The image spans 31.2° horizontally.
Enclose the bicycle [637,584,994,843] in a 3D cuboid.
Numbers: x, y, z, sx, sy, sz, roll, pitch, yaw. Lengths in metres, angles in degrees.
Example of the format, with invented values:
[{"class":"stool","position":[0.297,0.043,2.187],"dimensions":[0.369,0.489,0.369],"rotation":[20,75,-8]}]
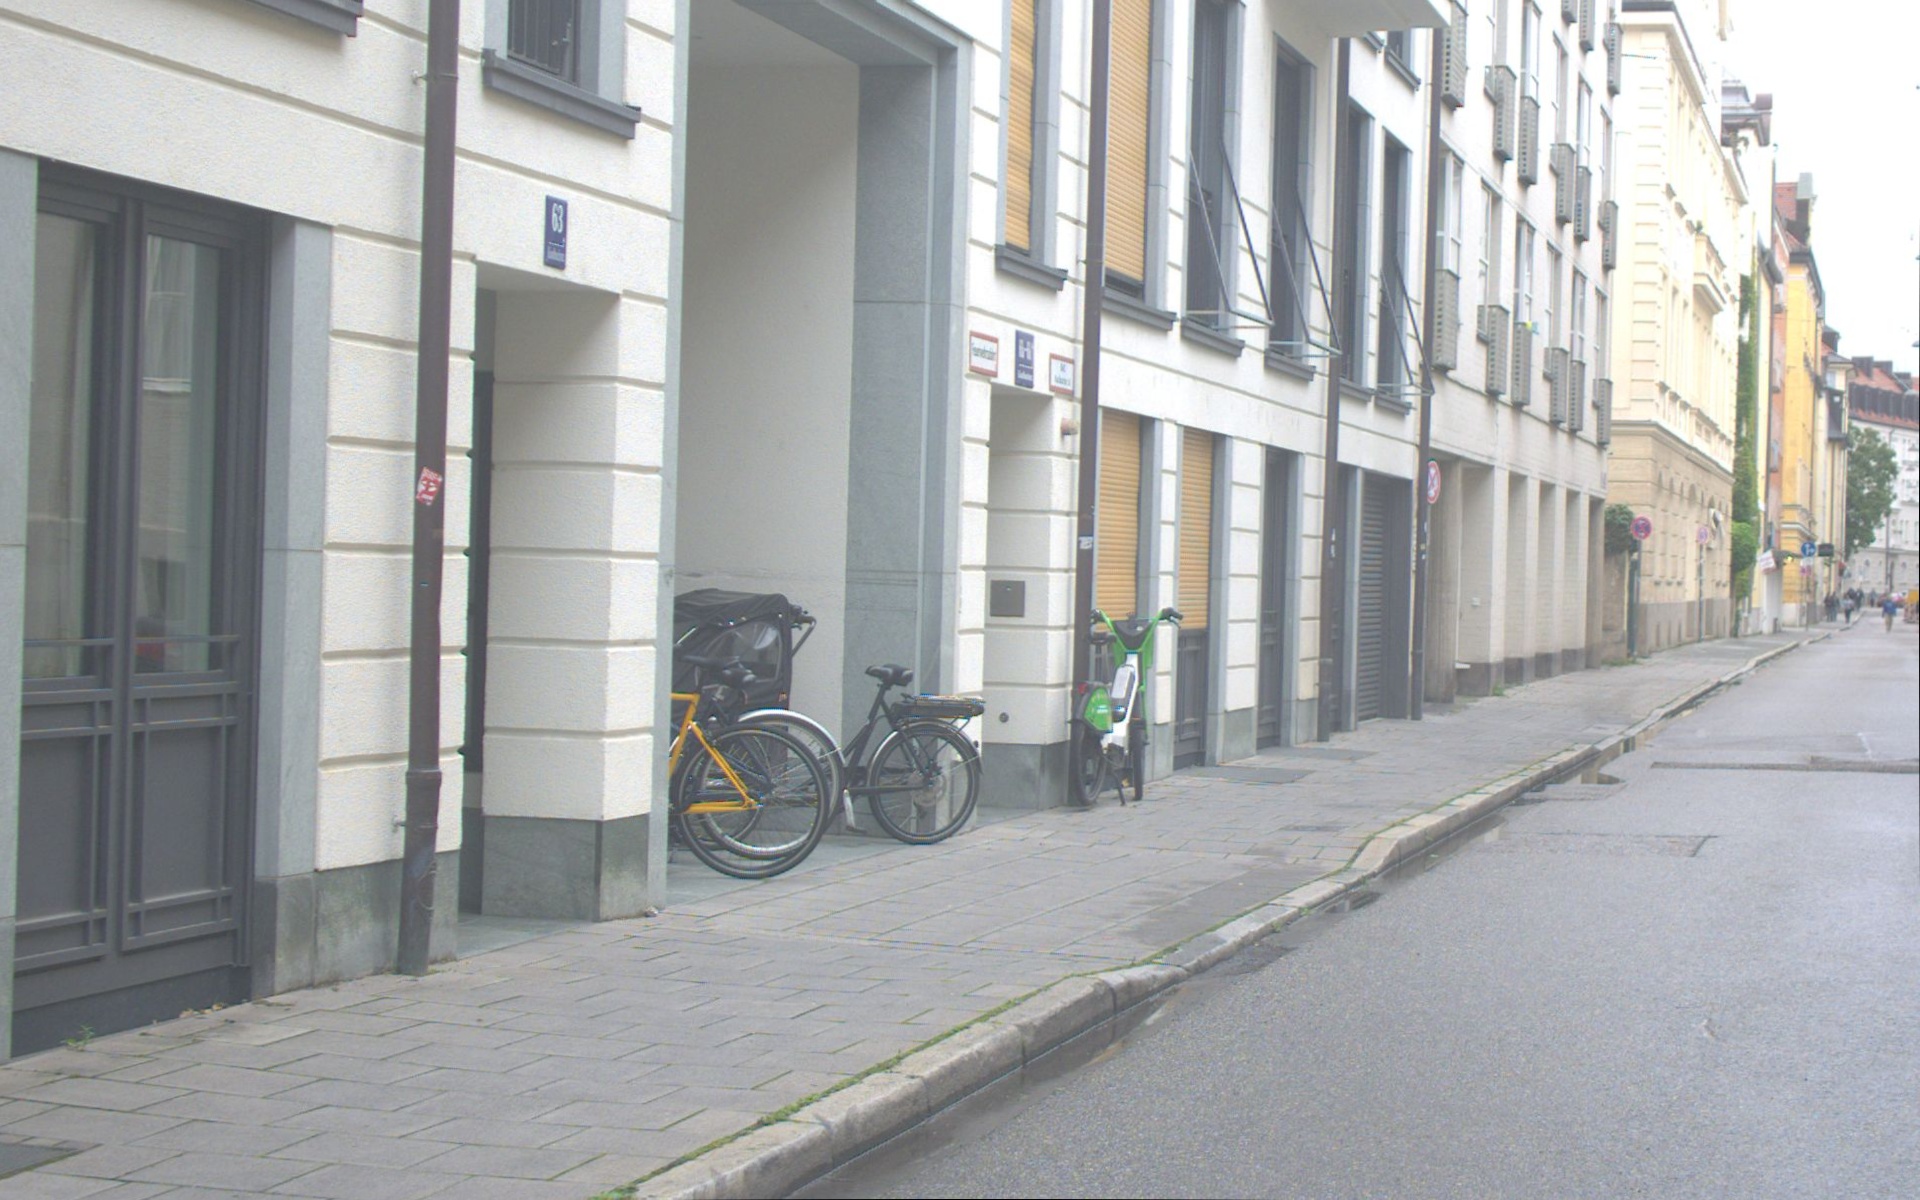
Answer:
[{"class":"bicycle","position":[-0.688,0.559,16.670],"dimensions":[1.680,1.189,0.380],"rotation":[2,2,-31]}]

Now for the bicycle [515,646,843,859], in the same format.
[{"class":"bicycle","position":[-1.275,0.694,15.610],"dimensions":[1.386,0.885,0.380],"rotation":[3,2,-18]}]

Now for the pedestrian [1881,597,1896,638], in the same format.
[{"class":"pedestrian","position":[37.916,0.722,140.324],"dimensions":[0.539,1.648,0.376],"rotation":[2,1,16]}]

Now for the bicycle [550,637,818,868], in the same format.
[{"class":"bicycle","position":[-1.198,0.663,14.914],"dimensions":[1.063,0.944,0.308],"rotation":[3,2,-18]}]

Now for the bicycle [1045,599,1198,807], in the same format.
[{"class":"bicycle","position":[0.970,0.590,20.173],"dimensions":[0.340,1.142,2.189],"rotation":[2,0,17]}]
